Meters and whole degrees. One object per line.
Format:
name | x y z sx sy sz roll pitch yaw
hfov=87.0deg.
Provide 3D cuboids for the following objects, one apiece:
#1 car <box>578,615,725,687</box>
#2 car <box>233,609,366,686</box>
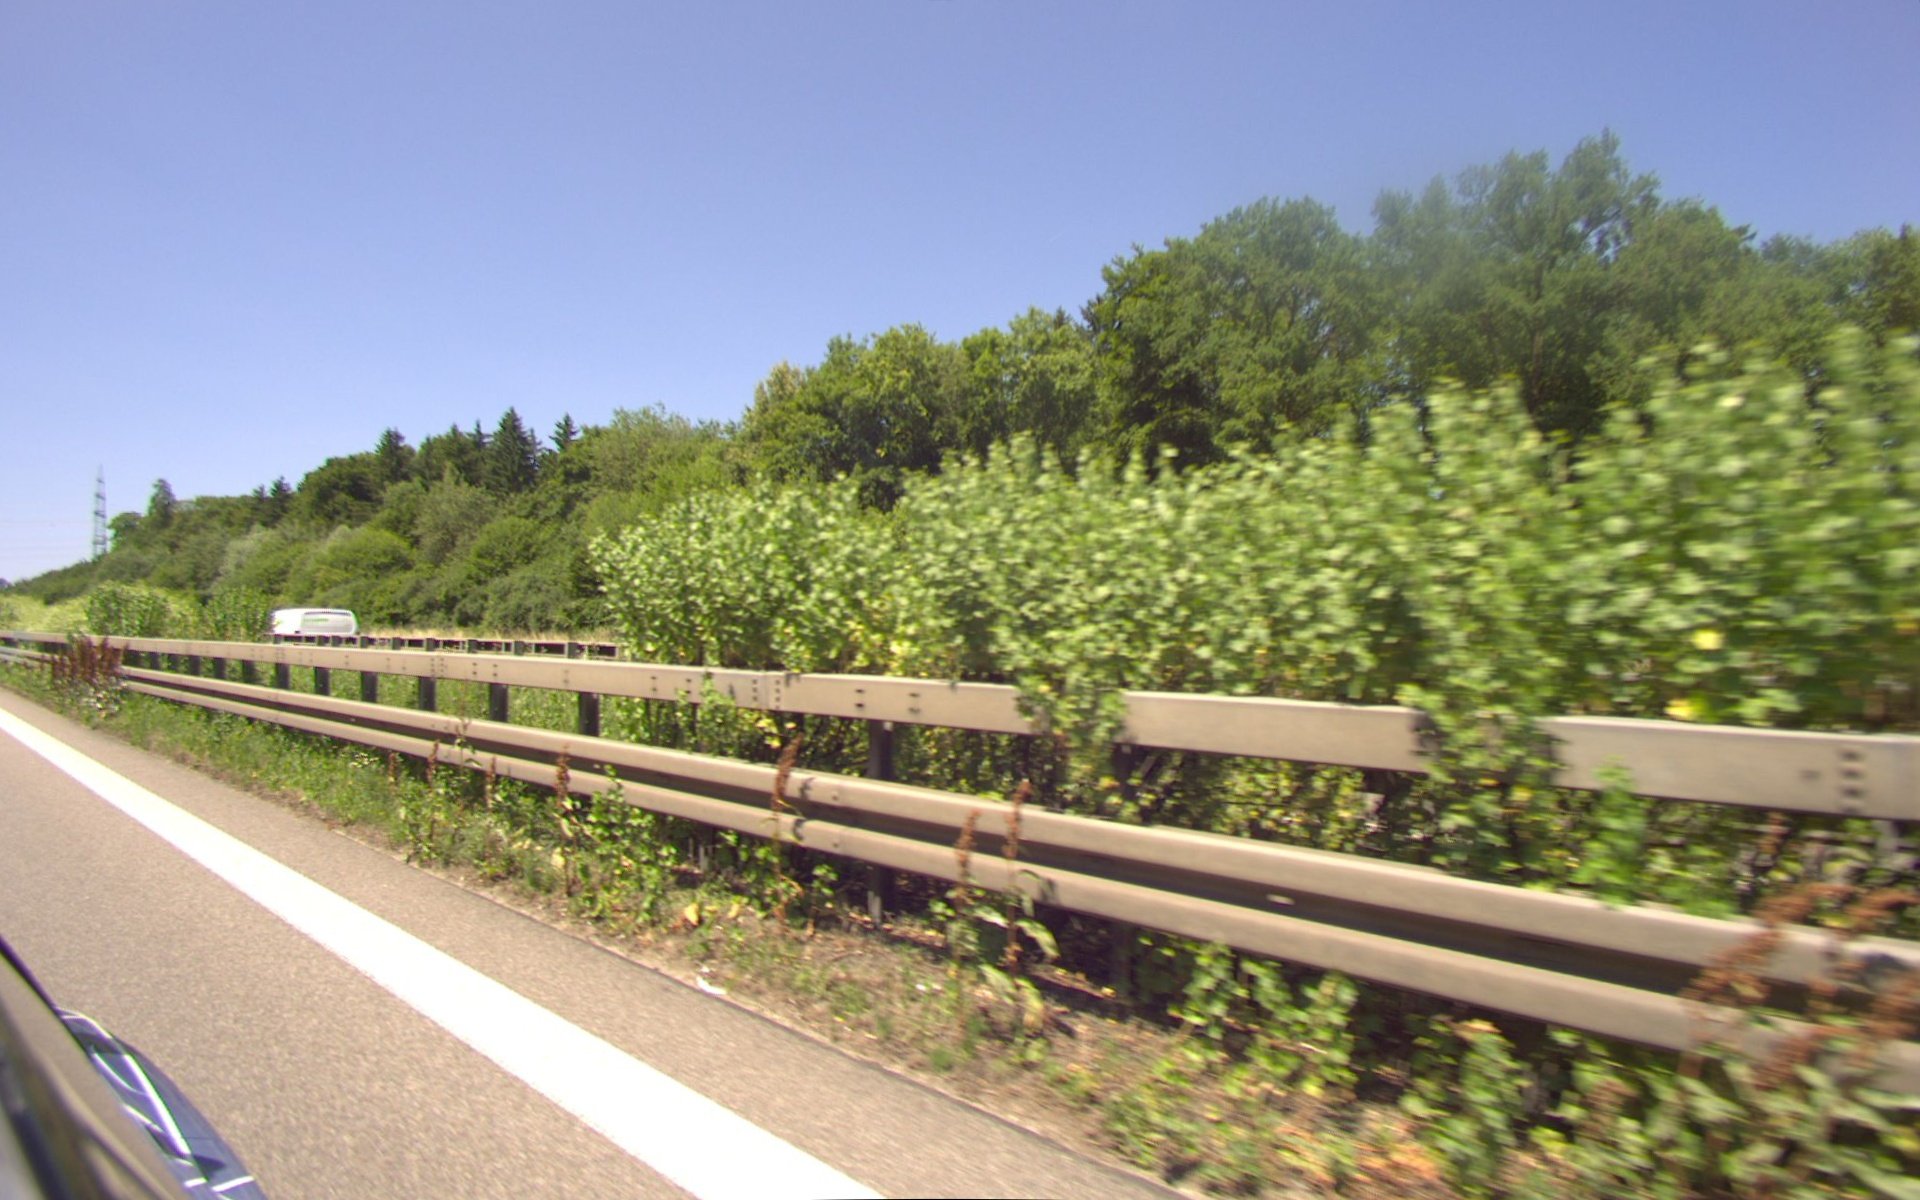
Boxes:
car | -7.541 1.251 24.570 3.909 1.611 1.542 -2 -5 41
car | -19.578 1.361 29.884 5.363 2.029 1.885 -2 -1 41
